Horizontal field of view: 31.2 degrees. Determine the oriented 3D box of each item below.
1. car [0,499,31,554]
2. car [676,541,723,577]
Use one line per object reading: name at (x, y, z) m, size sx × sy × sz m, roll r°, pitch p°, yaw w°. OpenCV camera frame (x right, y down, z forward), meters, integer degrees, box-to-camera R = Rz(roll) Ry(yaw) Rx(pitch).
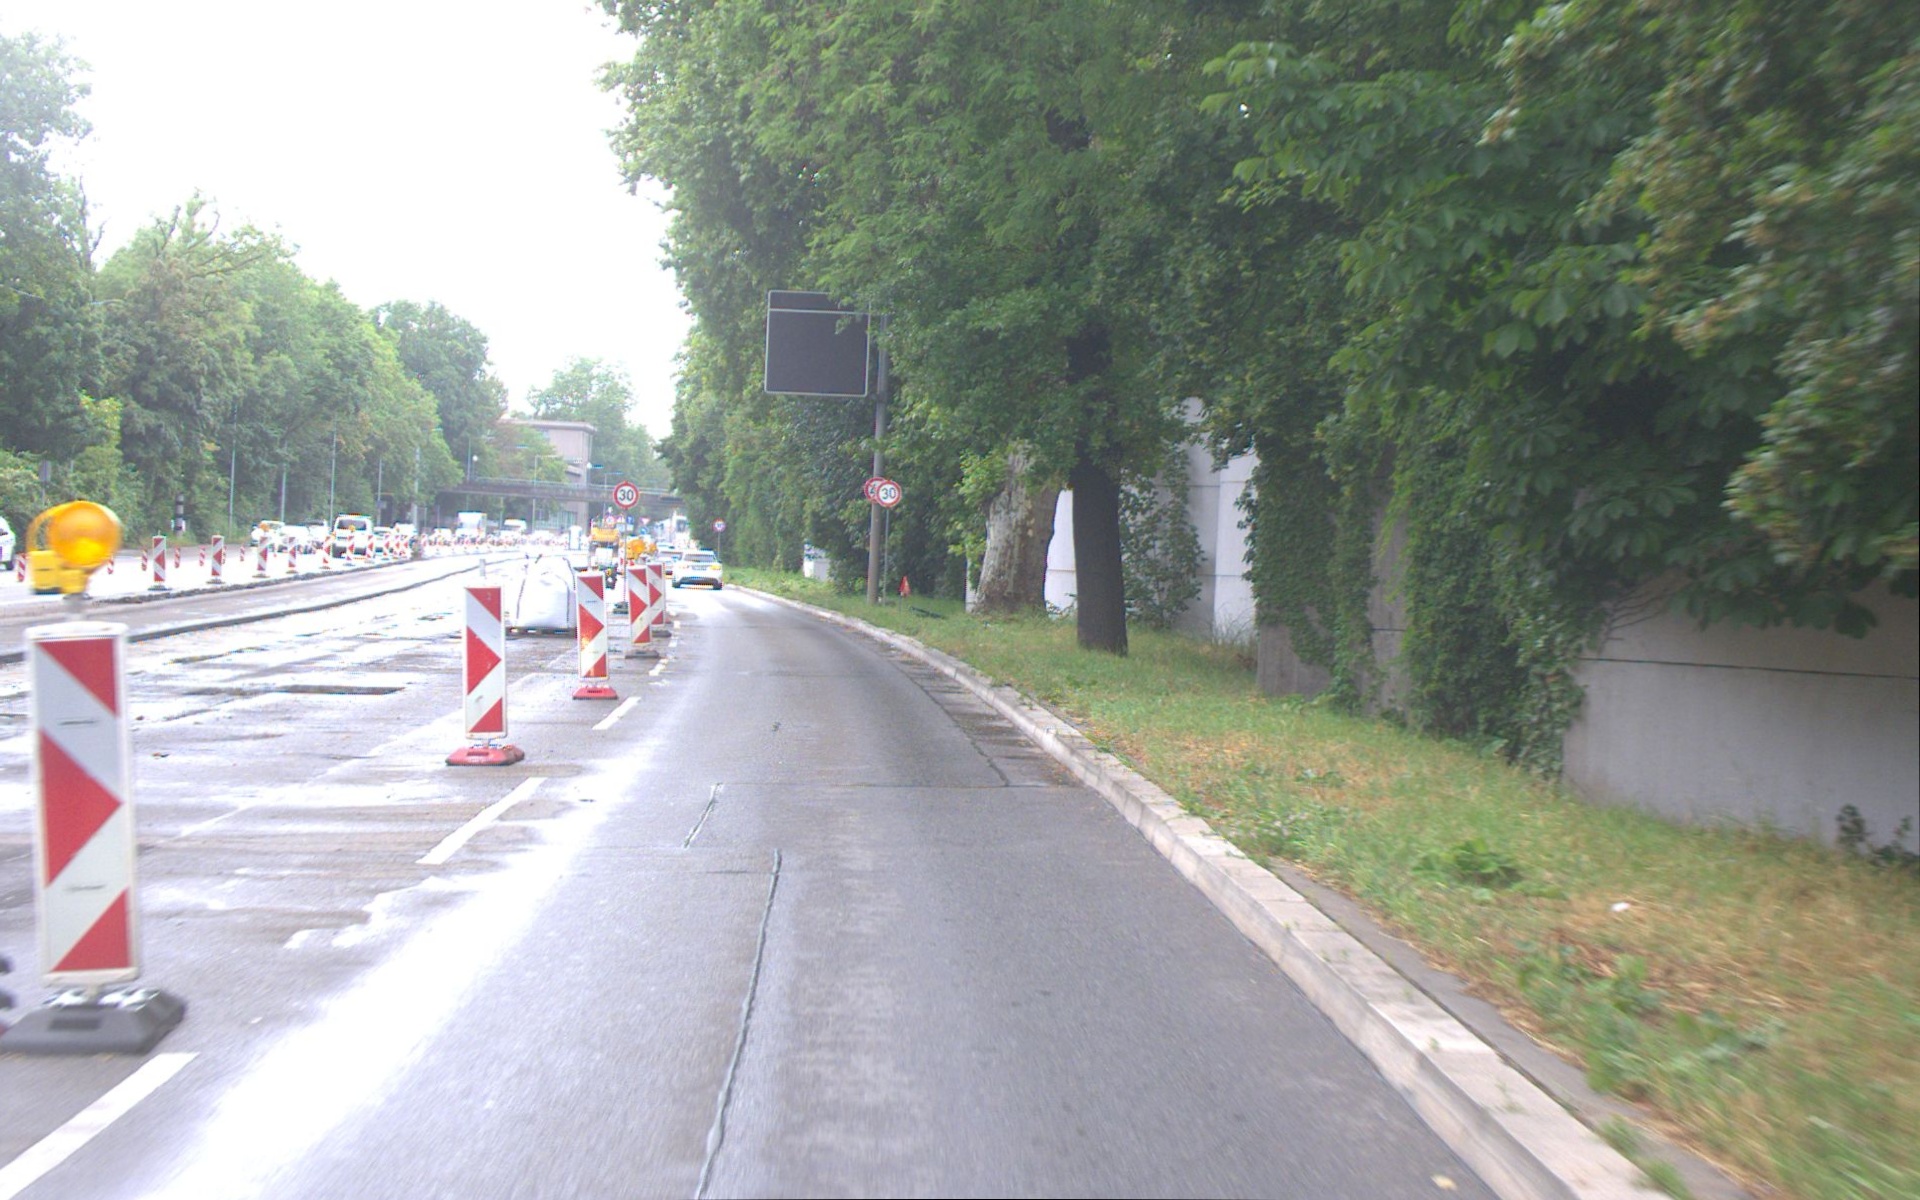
car at (-27.493, -2.060, 97.019) m, size 1.666 × 1.536 × 4.158 m, roll -1°, pitch 1°, yaw -4°
car at (-9.890, -1.549, 130.370) m, size 1.697 × 1.331 × 3.492 m, roll 0°, pitch 1°, yaw -6°
